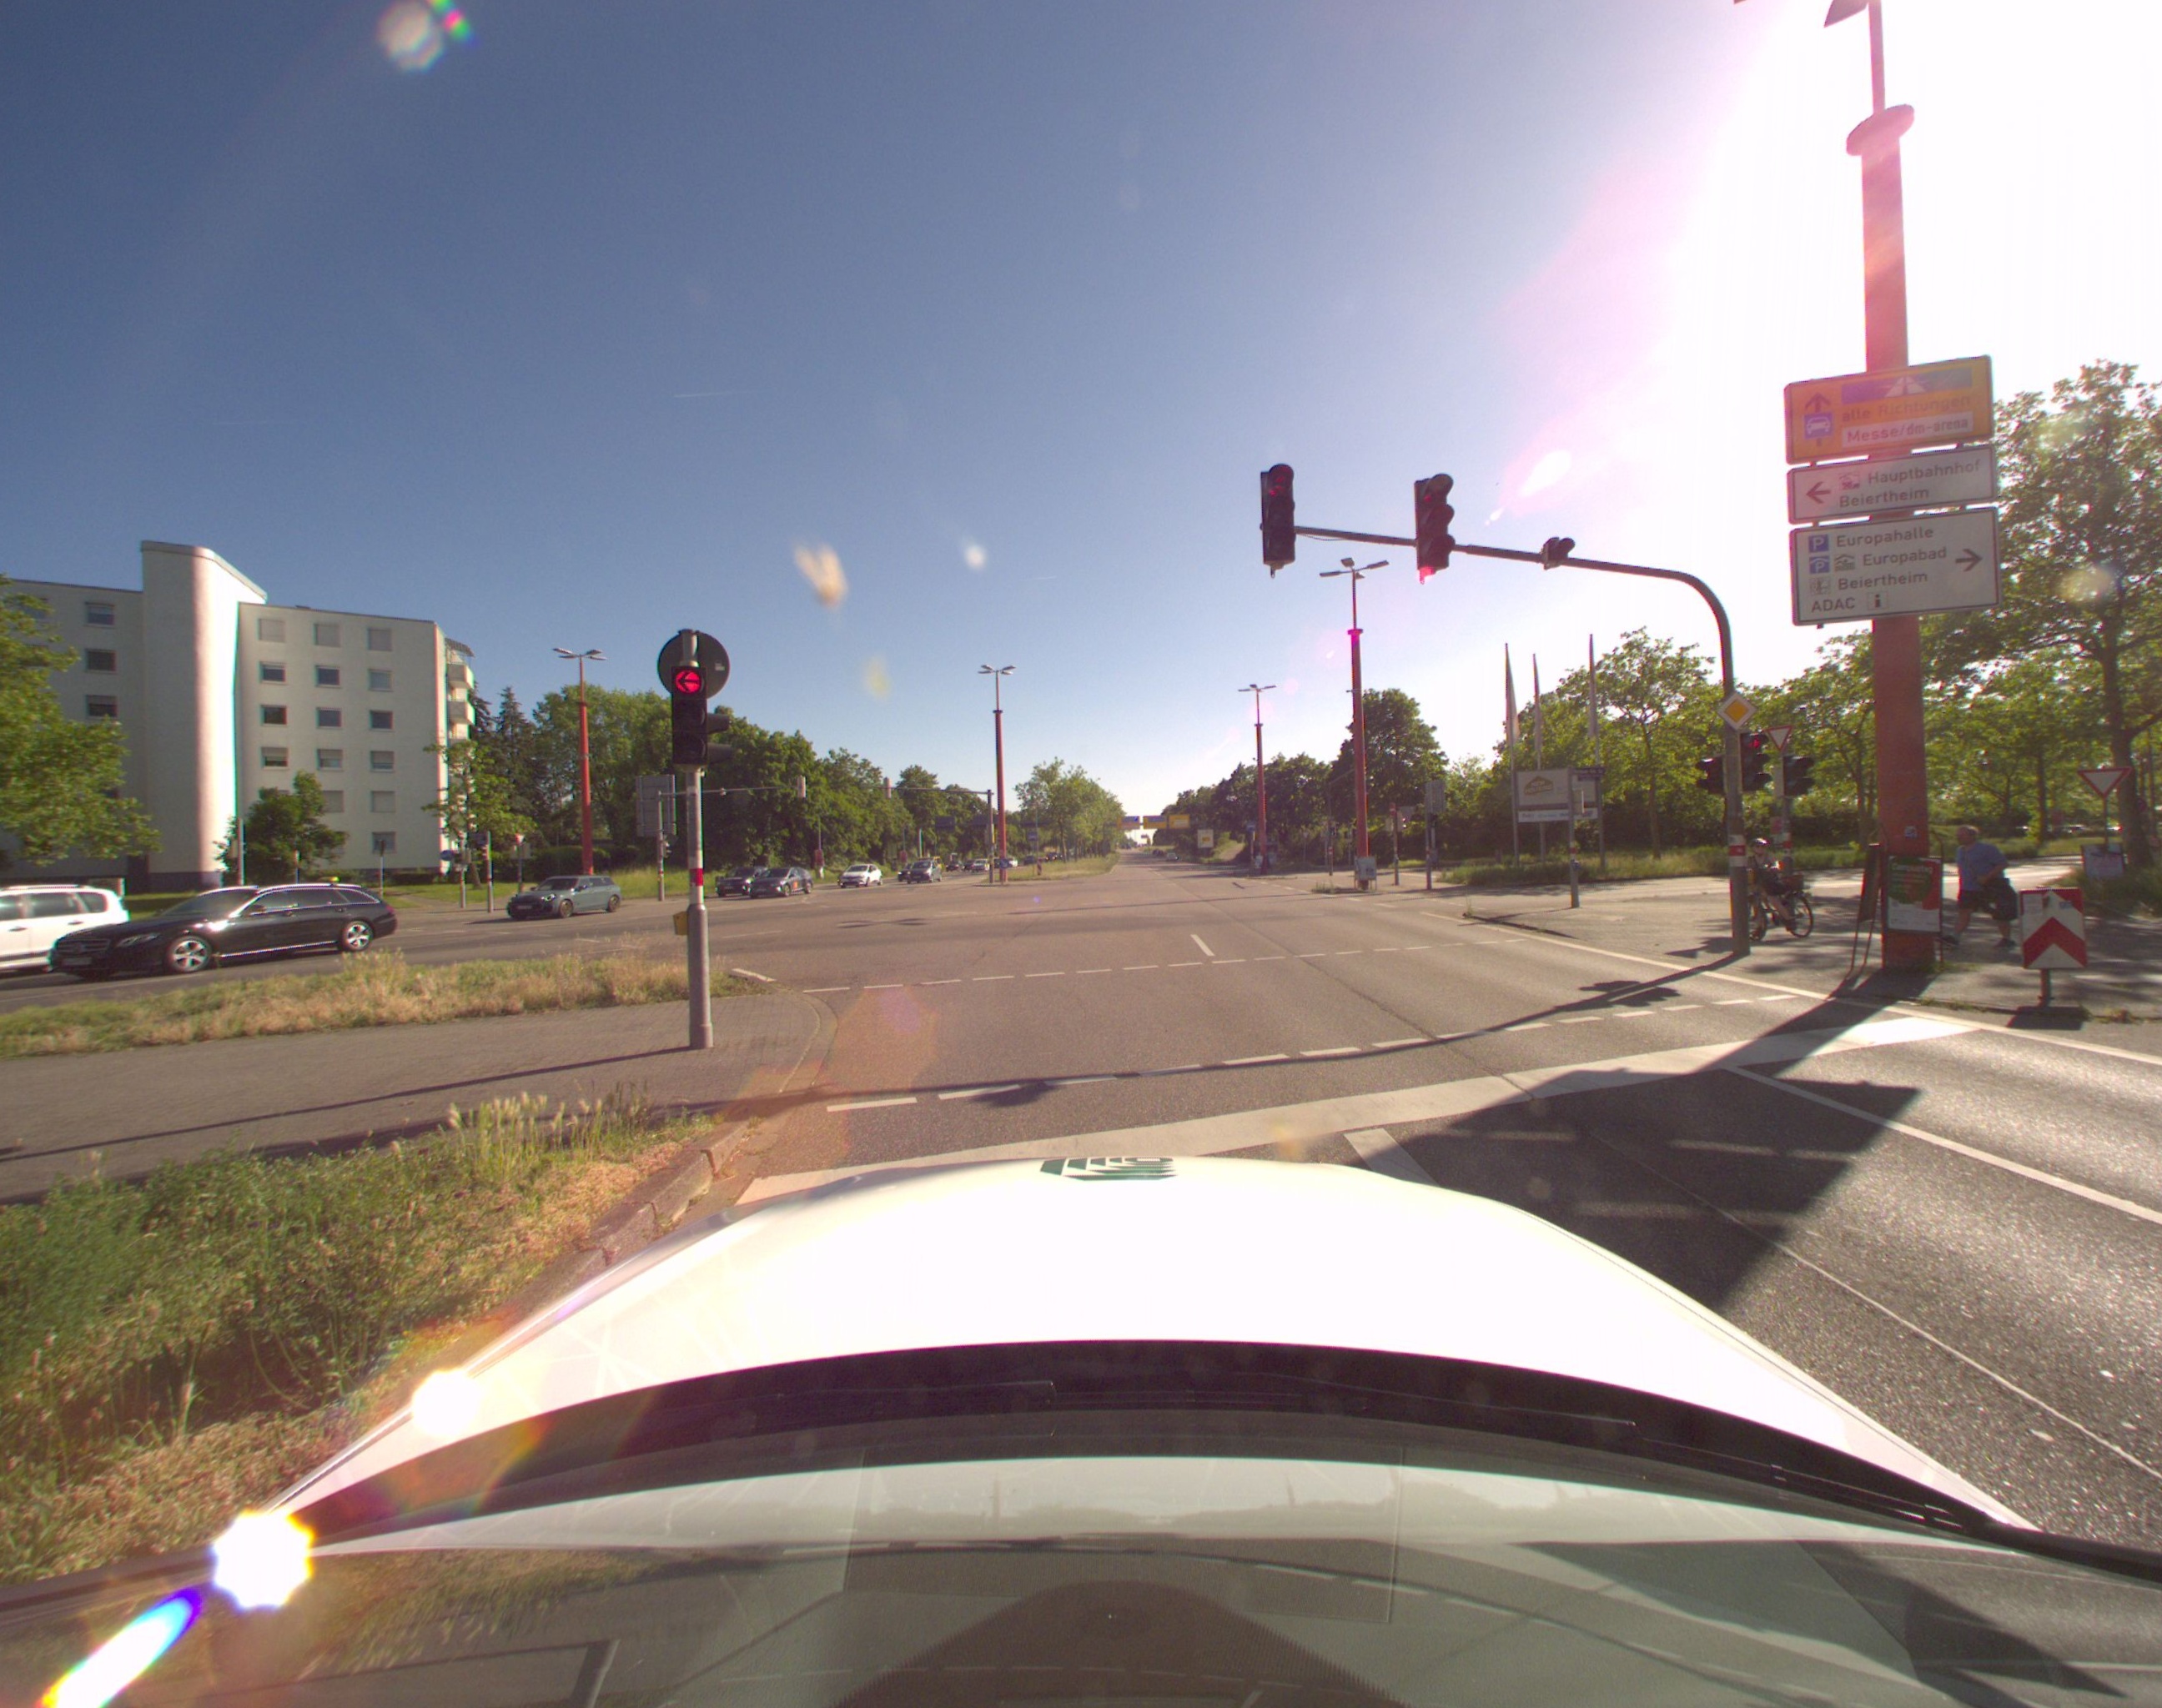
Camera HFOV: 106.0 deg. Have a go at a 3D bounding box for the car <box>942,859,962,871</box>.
[{"bbox_3d":[-17.832,1.546,112.608,1.986,1.638,4.000,-1,-1,1],"label":"car"}]

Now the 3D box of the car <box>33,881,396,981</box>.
[{"bbox_3d":[-15.970,1.319,15.492,1.869,1.485,4.607,-1,-1,2],"label":"car"}]

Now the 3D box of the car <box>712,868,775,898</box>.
[{"bbox_3d":[-18.337,1.551,44.425,1.537,1.433,3.889,-3,-1,3],"label":"car"}]

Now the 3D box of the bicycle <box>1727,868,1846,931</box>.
[{"bbox_3d":[11.301,0.695,13.031,2.171,0.878,0.555,-2,0,-24],"label":"bicycle"}]

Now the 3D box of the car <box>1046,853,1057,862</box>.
[{"bbox_3d":[-5.548,0.700,154.522,1.649,1.747,4.005,-1,-1,4],"label":"car"}]

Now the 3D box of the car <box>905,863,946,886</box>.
[{"bbox_3d":[-10.407,1.364,54.694,1.693,1.421,4.003,1,-1,3],"label":"car"}]

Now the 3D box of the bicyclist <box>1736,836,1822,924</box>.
[{"bbox_3d":[11.109,0.401,12.979,0.739,1.341,0.705,-2,0,-9],"label":"bicyclist"}]

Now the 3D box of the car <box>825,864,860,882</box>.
[{"bbox_3d":[-17.774,1.419,60.717,1.448,1.273,3.614,-1,-1,2],"label":"car"}]

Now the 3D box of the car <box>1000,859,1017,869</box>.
[{"bbox_3d":[-10.480,1.411,117.372,1.997,1.308,4.000,-2,0,0],"label":"car"}]

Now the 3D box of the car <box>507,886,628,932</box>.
[{"bbox_3d":[-18.181,1.902,29.065,1.424,1.388,4.144,-1,-1,4],"label":"car"}]

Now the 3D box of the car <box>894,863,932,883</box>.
[{"bbox_3d":[-12.982,1.462,63.090,1.621,1.368,4.801,-2,0,4],"label":"car"}]

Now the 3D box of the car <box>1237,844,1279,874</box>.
[{"bbox_3d":[11.717,0.297,53.766,1.976,1.887,4.022,-2,0,22],"label":"car"}]

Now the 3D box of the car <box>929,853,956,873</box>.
[{"bbox_3d":[-14.506,0.922,85.348,1.750,1.987,4.793,-1,-1,3],"label":"car"}]

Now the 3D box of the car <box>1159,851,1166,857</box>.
[{"bbox_3d":[19.994,0.062,200.148,1.730,1.341,3.084,-2,0,3],"label":"car"}]

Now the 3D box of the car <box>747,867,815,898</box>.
[{"bbox_3d":[-14.722,1.362,40.188,1.542,1.377,4.265,-2,0,3],"label":"car"}]

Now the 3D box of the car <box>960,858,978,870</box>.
[{"bbox_3d":[-14.732,1.314,107.178,1.622,1.450,3.437,-1,-1,3],"label":"car"}]

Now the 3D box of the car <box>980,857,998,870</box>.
[{"bbox_3d":[-11.884,1.212,105.219,1.696,1.558,3.807,-1,-1,4],"label":"car"}]

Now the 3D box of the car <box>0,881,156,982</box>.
[{"bbox_3d":[-19.807,1.415,14.534,1.793,1.707,4.063,-2,-1,3],"label":"car"}]

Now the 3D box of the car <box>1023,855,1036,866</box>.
[{"bbox_3d":[-8.698,1.060,137.963,1.618,1.739,4.004,-2,0,4],"label":"car"}]

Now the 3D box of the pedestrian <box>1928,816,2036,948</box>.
[{"bbox_3d":[12.815,0.369,11.587,0.897,1.788,0.891,-1,0,-33],"label":"pedestrian"}]

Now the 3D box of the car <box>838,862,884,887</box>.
[{"bbox_3d":[-13.904,1.296,51.756,1.598,1.459,3.954,-2,0,4],"label":"car"}]

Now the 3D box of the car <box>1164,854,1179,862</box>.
[{"bbox_3d":[15.664,0.640,141.347,2.047,1.371,4.391,-2,0,0],"label":"car"}]

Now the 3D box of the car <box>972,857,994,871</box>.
[{"bbox_3d":[-11.160,1.145,92.626,1.696,1.596,4.004,-1,-1,4],"label":"car"}]

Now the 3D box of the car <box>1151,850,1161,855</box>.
[{"bbox_3d":[20.667,-0.387,224.838,1.990,1.496,3.994,-2,0,-4],"label":"car"}]
